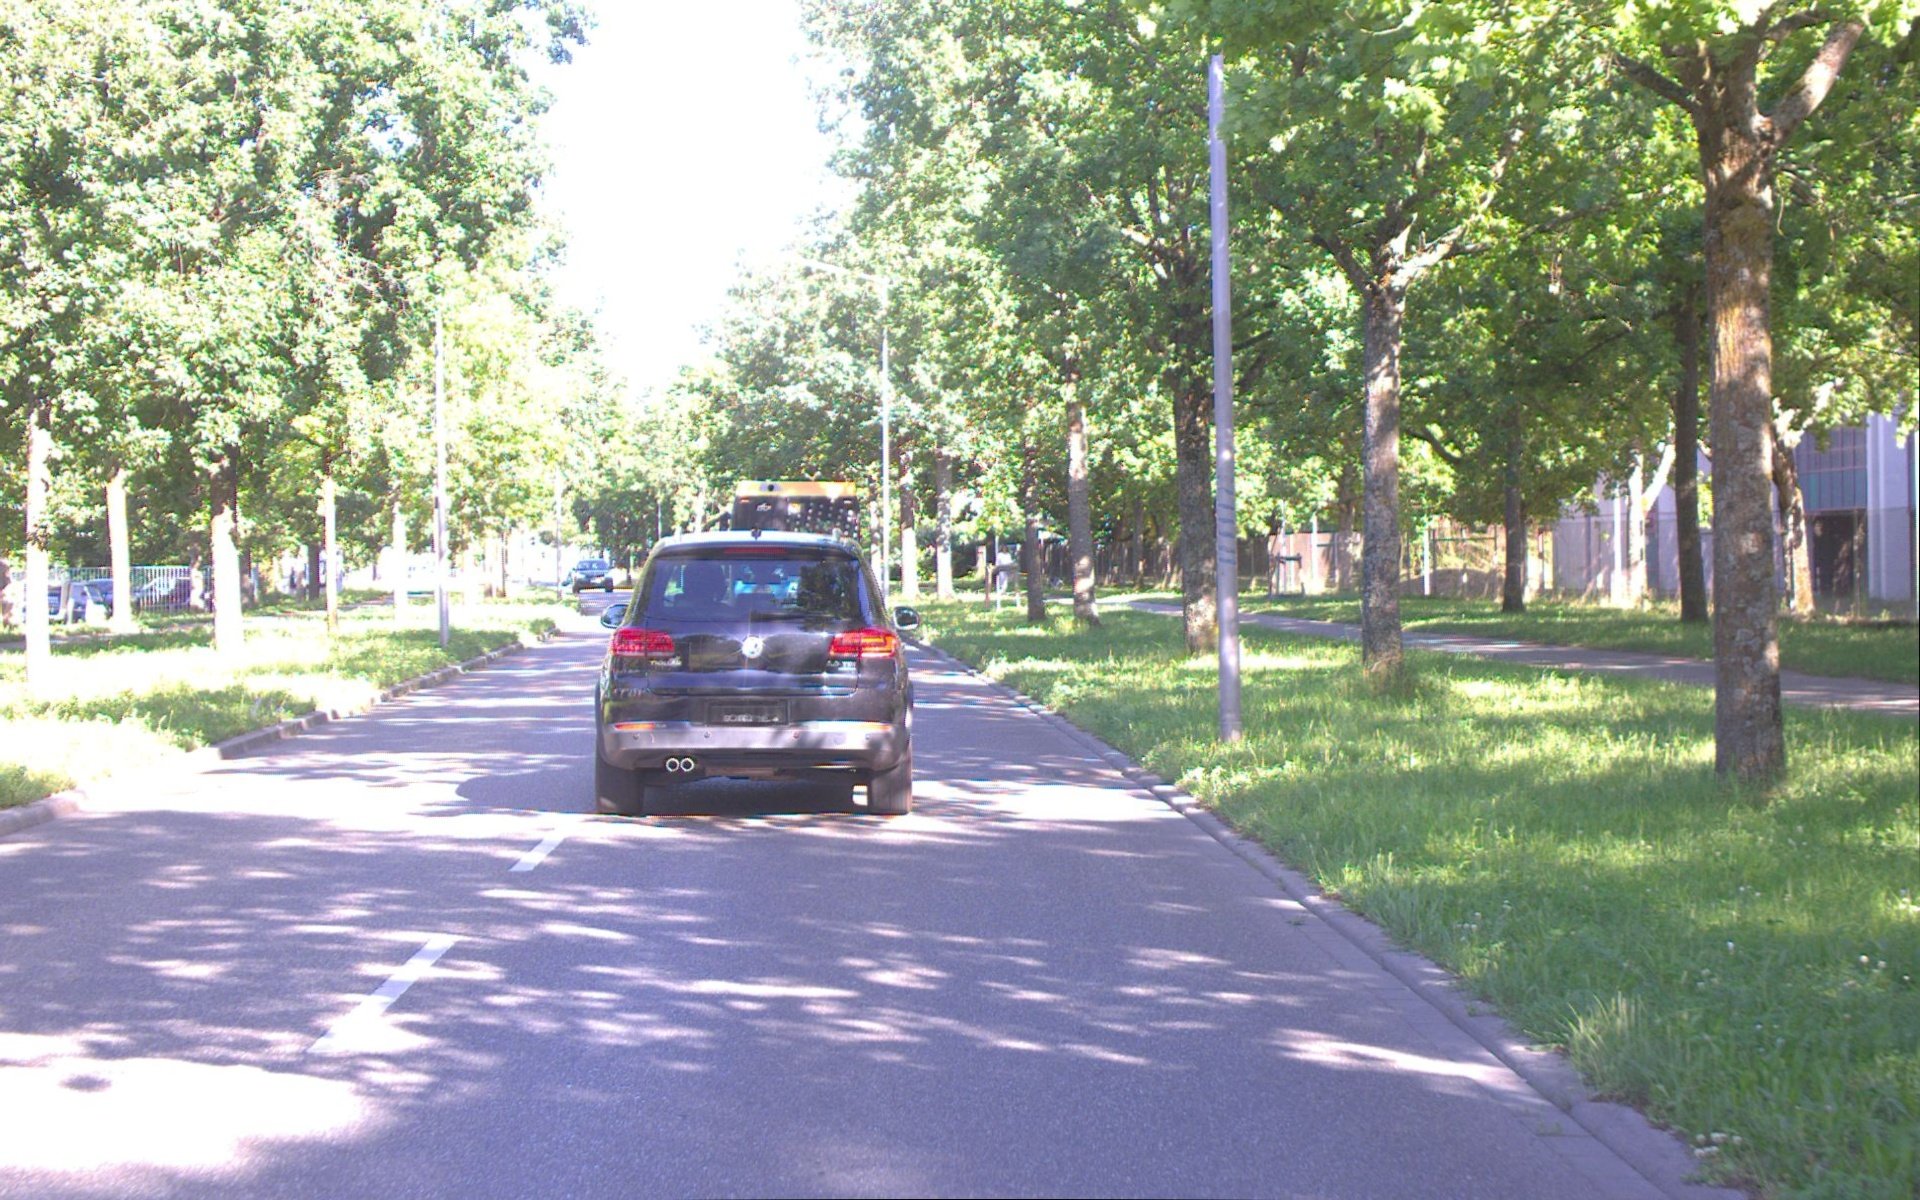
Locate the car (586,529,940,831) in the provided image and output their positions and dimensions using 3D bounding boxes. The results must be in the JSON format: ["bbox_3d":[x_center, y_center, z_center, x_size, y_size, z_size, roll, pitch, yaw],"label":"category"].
[{"bbox_3d":[-1.161,0.399,21.215,1.936,1.650,4.427,1,1,-2],"label":"car"}]

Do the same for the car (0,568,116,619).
[{"bbox_3d":[-25.605,-0.177,94.633,4.199,1.317,1.941,-1,1,4],"label":"car"}]

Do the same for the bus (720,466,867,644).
[{"bbox_3d":[-3.421,-0.974,73.068,2.764,3.445,11.211,-1,1,-1],"label":"bus"}]
